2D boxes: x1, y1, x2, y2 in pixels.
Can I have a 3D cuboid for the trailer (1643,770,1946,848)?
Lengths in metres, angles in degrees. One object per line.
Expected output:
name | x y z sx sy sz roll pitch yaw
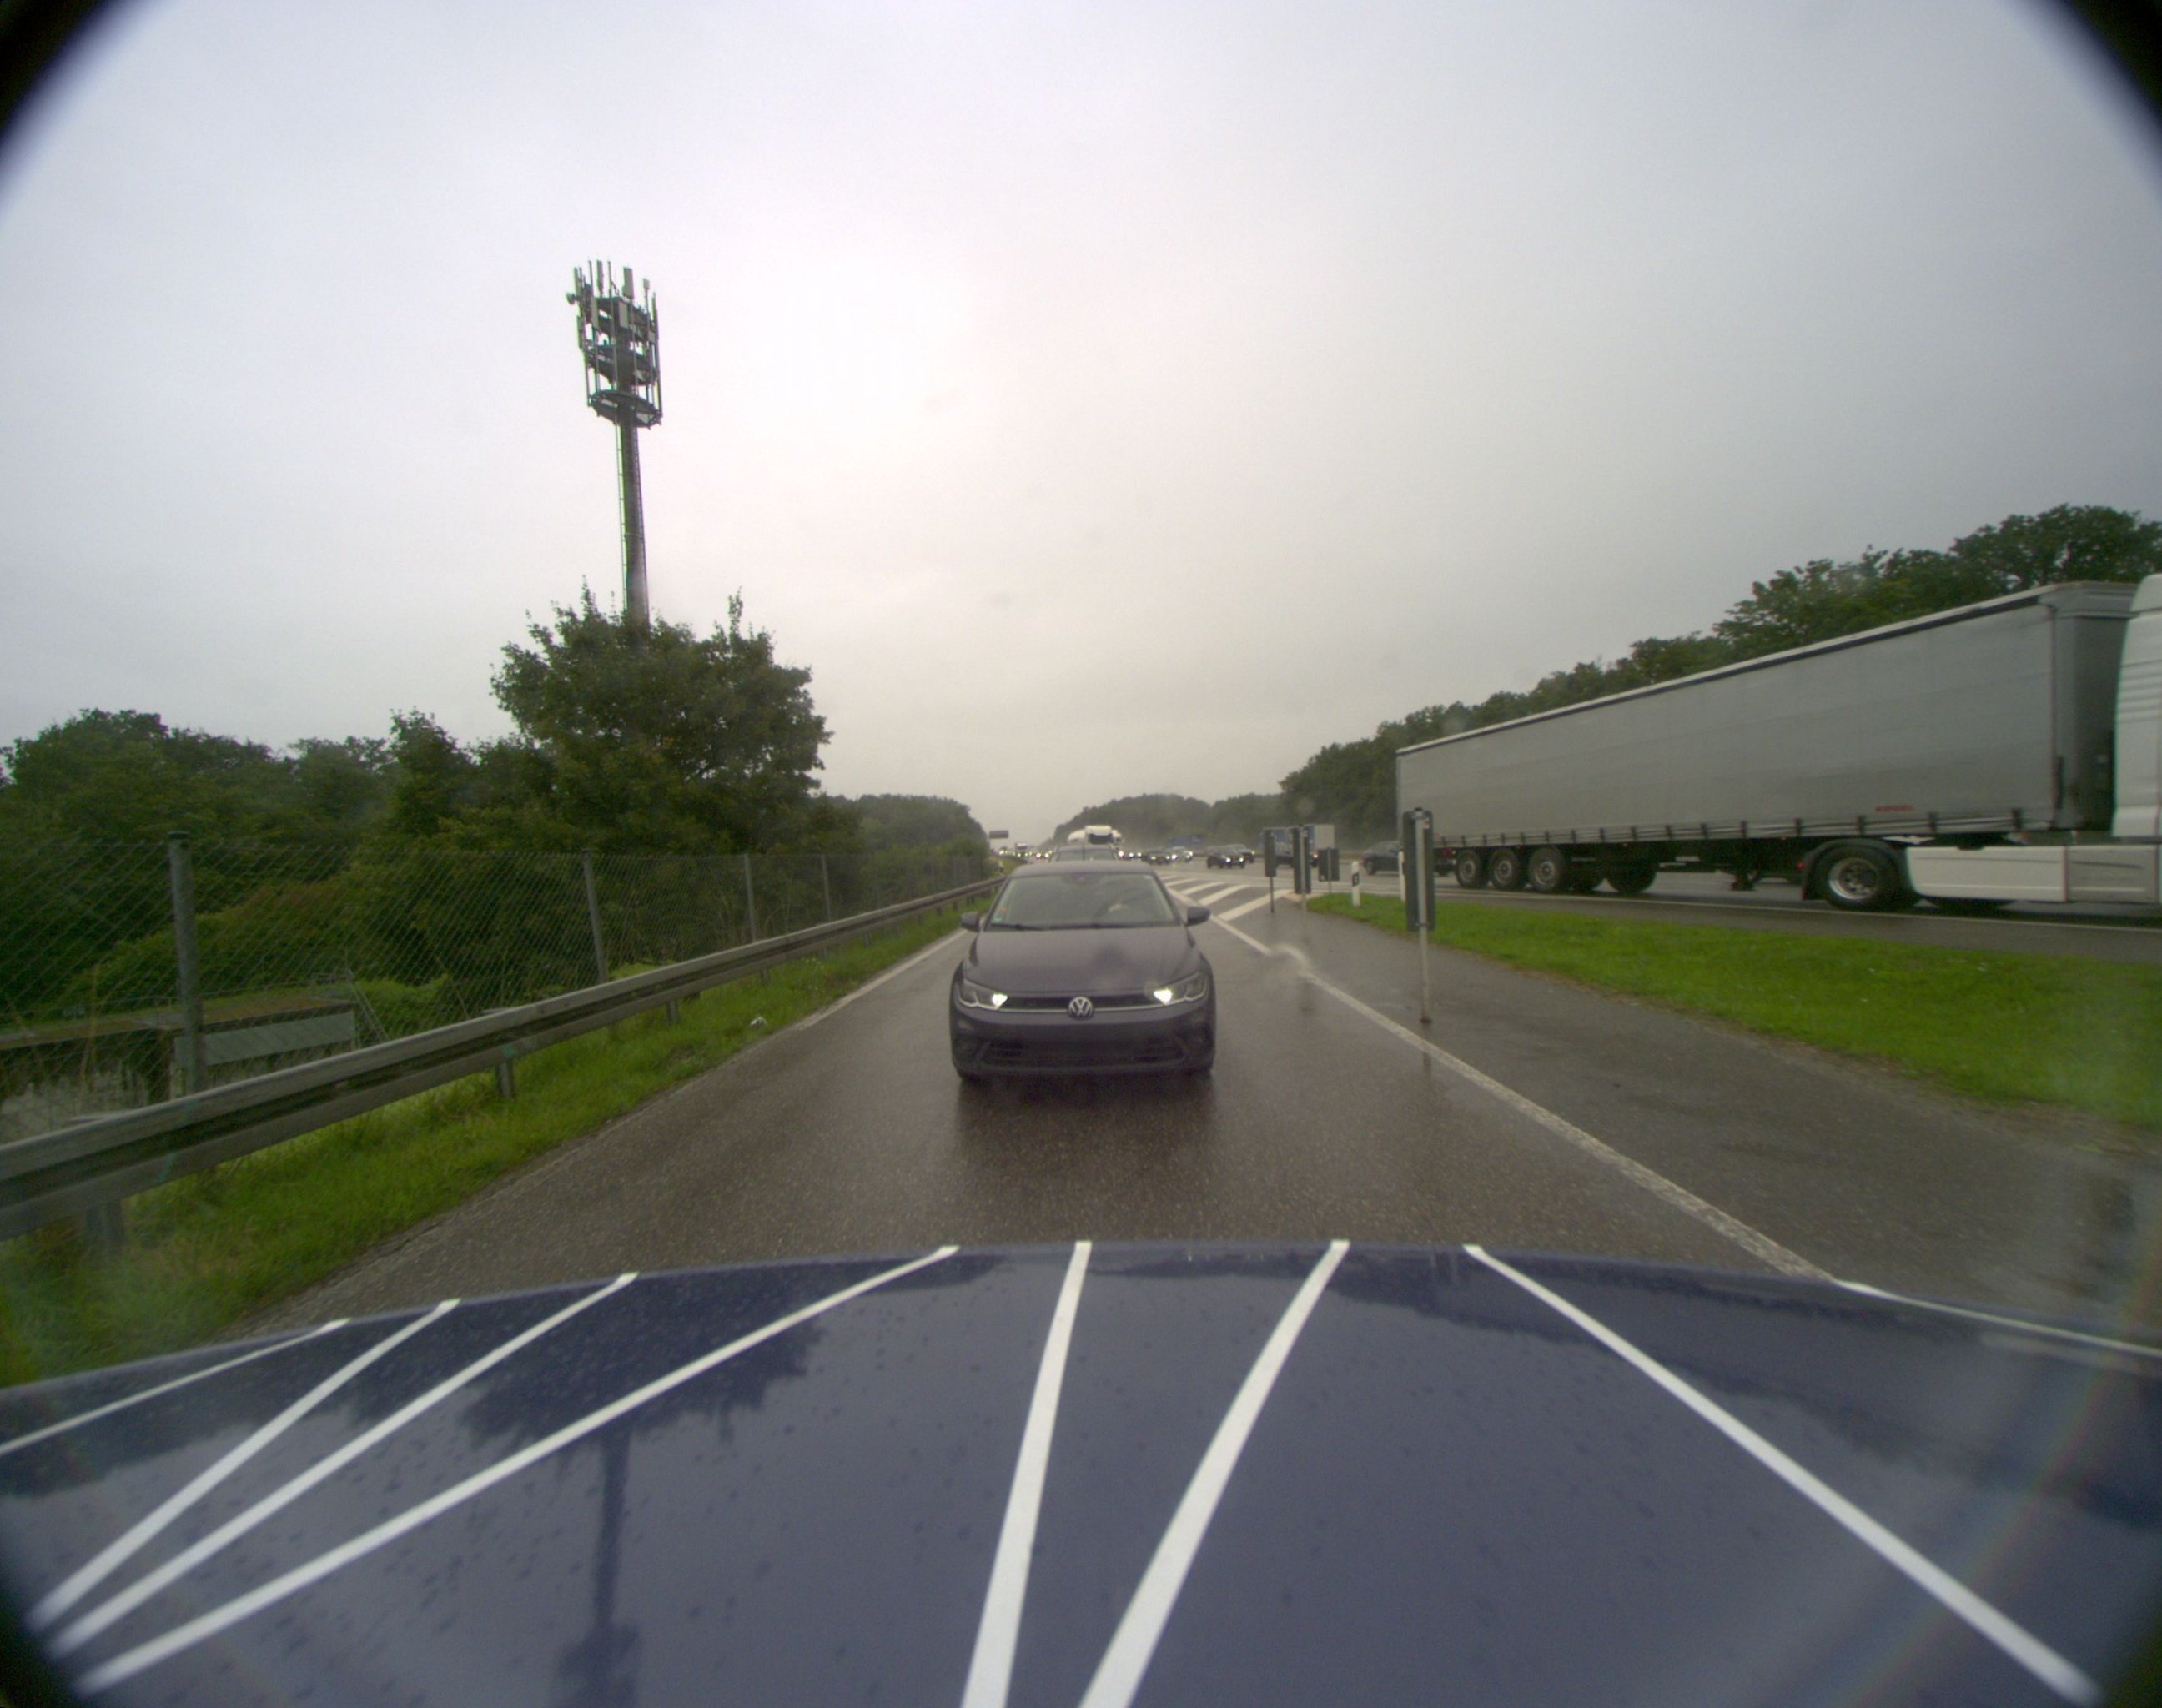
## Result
trailer | 37.541 -2.112 41.354 2.657 3.477 13.476 -2 0 -7

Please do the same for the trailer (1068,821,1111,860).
trailer | 0.798 -1.359 83.981 2.771 4.002 11.032 -1 0 -10

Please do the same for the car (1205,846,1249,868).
car | 9.736 0.188 50.894 1.823 1.364 3.998 -1 0 -6

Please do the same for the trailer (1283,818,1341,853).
trailer | 29.469 -2.375 97.505 3.100 4.024 9.157 -6 2 -9

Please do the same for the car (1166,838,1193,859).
car | 10.038 -0.544 77.657 1.862 2.002 3.998 -1 1 -5

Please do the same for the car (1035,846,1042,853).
car | -12.091 -1.300 215.450 1.775 1.668 3.997 -4 1 -7

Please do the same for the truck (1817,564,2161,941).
truck | 12.935 -1.105 8.705 2.882 4.029 5.929 -1 0 -9

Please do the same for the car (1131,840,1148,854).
car | 8.816 -1.108 115.237 1.999 2.002 3.998 -2 1 -3

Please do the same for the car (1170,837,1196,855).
car | 12.079 -0.928 90.111 2.000 2.002 3.997 -2 0 -9

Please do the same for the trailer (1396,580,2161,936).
trailer | 11.840 -1.087 15.674 2.904 3.959 14.106 -1 0 -9

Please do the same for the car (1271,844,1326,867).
car | 14.062 0.091 49.310 1.824 1.406 4.120 -1 0 -9

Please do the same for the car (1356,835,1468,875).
car | 13.258 0.030 30.802 1.886 1.472 4.497 -1 1 -12

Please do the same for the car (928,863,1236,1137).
car | -0.004 0.853 6.447 1.670 1.394 4.261 -3 0 0

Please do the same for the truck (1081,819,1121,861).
truck | 1.953 -1.349 76.884 2.759 3.985 6.502 -2 0 -10

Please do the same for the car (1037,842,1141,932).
car | 0.187 0.602 16.253 1.810 1.532 4.000 -6 1 1

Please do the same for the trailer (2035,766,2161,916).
trailer | 16.709 -0.192 9.747 2.136 2.143 5.175 0 0 -10

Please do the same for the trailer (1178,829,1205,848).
trailer | 22.270 -3.077 153.756 2.740 3.397 11.392 -3 1 -5

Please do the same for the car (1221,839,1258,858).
car | 14.630 -0.512 70.264 1.824 1.659 4.399 0 2 -10

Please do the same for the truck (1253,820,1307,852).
truck | 27.927 -2.529 107.288 3.071 3.958 10.548 -6 2 -9

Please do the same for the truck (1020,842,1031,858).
truck | -14.894 -1.130 204.484 2.597 4.120 5.229 -5 0 -3

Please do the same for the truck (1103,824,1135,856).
truck | 4.681 -1.684 94.534 2.698 3.636 5.321 -5 1 -8

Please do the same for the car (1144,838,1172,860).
car | 7.137 -0.405 70.589 1.766 1.892 3.998 -3 0 -5

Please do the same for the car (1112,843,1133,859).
car | 5.633 -0.429 103.499 2.000 2.002 4.109 -2 0 -9
